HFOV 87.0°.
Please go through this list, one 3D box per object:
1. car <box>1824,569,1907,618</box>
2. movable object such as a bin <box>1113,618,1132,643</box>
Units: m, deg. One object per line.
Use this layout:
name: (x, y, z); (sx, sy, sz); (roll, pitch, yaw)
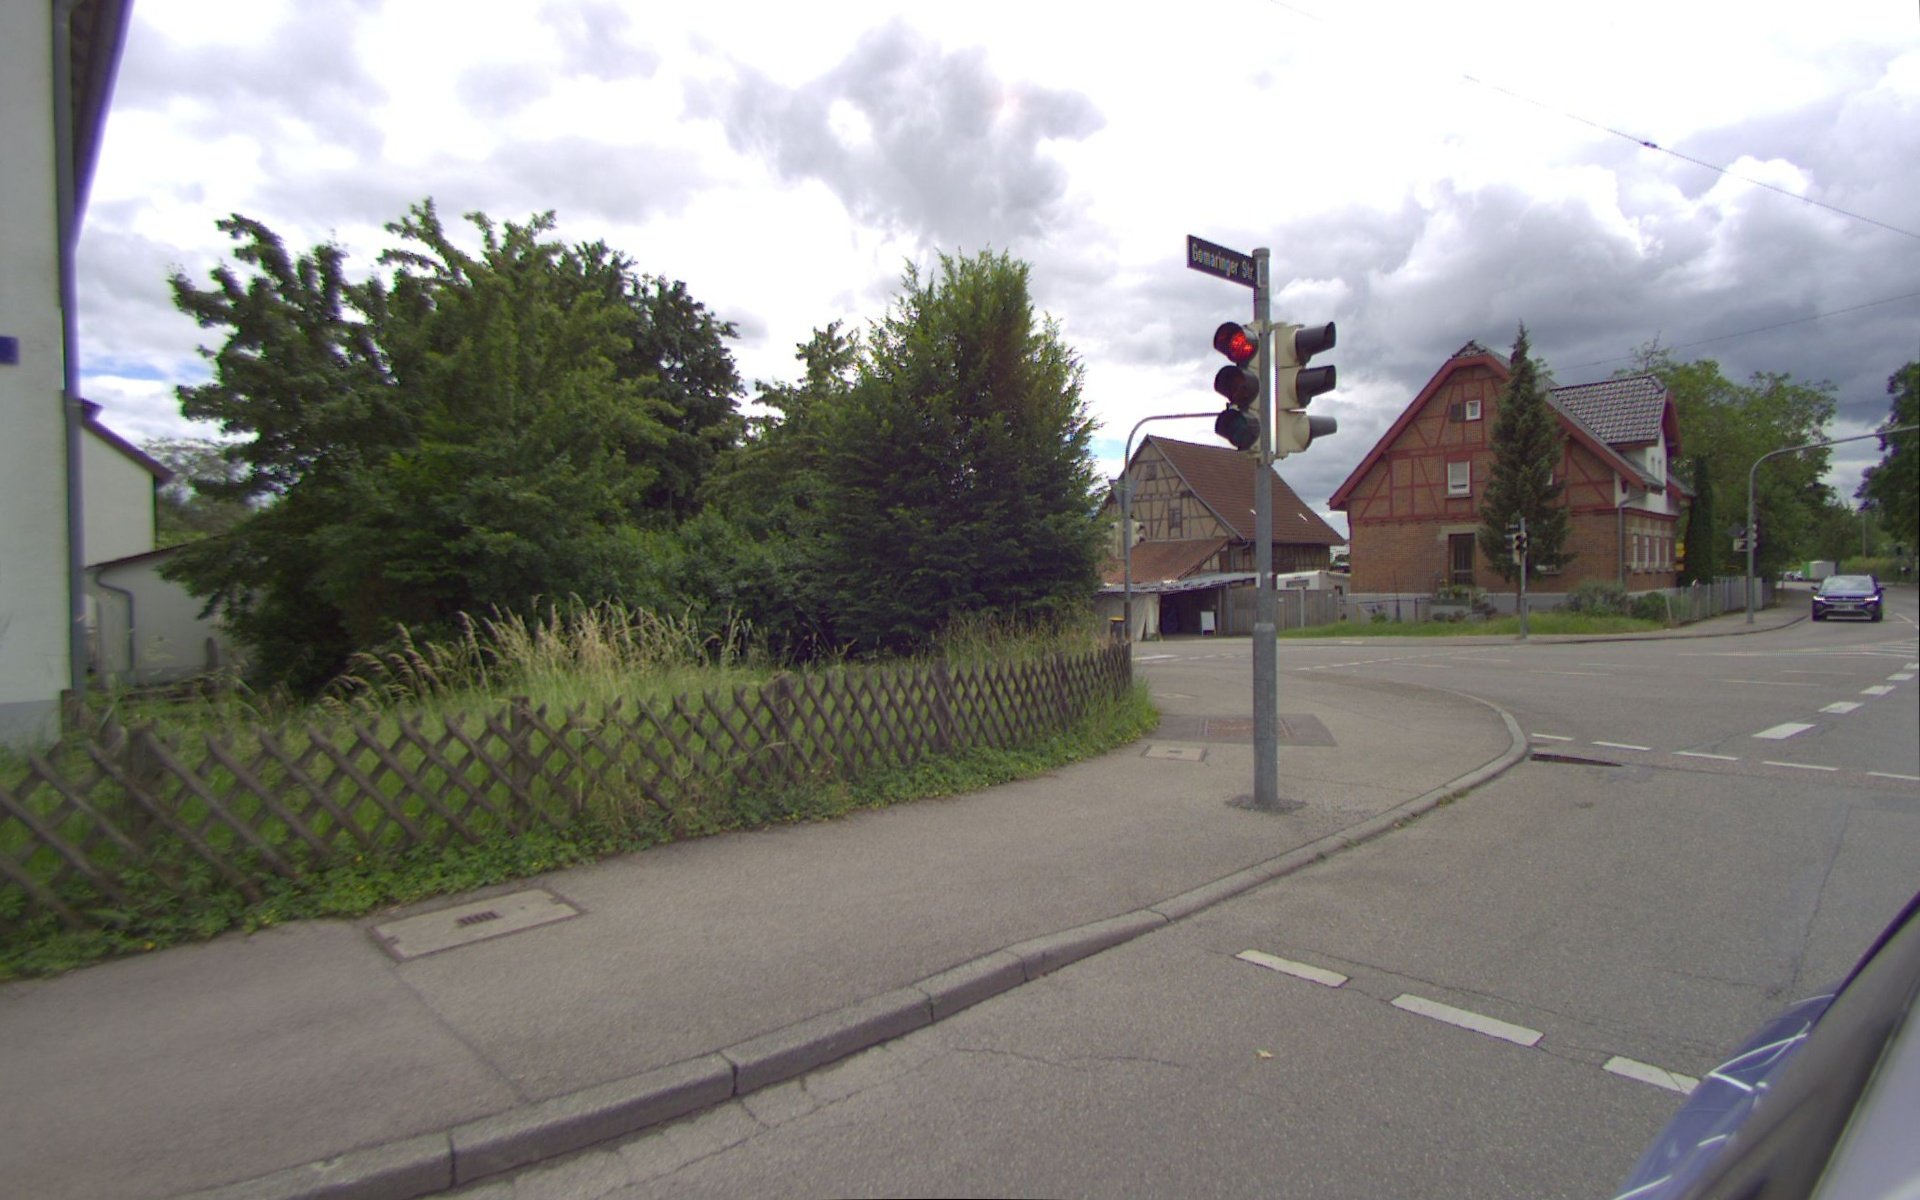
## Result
car: (30.894, -0.239, 34.495); (1.922, 1.537, 3.937); (-1, 1, 45)
movable object such as a bin: (6.235, 1.178, 38.863); (0.581, 0.918, 0.603); (-2, 0, -5)
